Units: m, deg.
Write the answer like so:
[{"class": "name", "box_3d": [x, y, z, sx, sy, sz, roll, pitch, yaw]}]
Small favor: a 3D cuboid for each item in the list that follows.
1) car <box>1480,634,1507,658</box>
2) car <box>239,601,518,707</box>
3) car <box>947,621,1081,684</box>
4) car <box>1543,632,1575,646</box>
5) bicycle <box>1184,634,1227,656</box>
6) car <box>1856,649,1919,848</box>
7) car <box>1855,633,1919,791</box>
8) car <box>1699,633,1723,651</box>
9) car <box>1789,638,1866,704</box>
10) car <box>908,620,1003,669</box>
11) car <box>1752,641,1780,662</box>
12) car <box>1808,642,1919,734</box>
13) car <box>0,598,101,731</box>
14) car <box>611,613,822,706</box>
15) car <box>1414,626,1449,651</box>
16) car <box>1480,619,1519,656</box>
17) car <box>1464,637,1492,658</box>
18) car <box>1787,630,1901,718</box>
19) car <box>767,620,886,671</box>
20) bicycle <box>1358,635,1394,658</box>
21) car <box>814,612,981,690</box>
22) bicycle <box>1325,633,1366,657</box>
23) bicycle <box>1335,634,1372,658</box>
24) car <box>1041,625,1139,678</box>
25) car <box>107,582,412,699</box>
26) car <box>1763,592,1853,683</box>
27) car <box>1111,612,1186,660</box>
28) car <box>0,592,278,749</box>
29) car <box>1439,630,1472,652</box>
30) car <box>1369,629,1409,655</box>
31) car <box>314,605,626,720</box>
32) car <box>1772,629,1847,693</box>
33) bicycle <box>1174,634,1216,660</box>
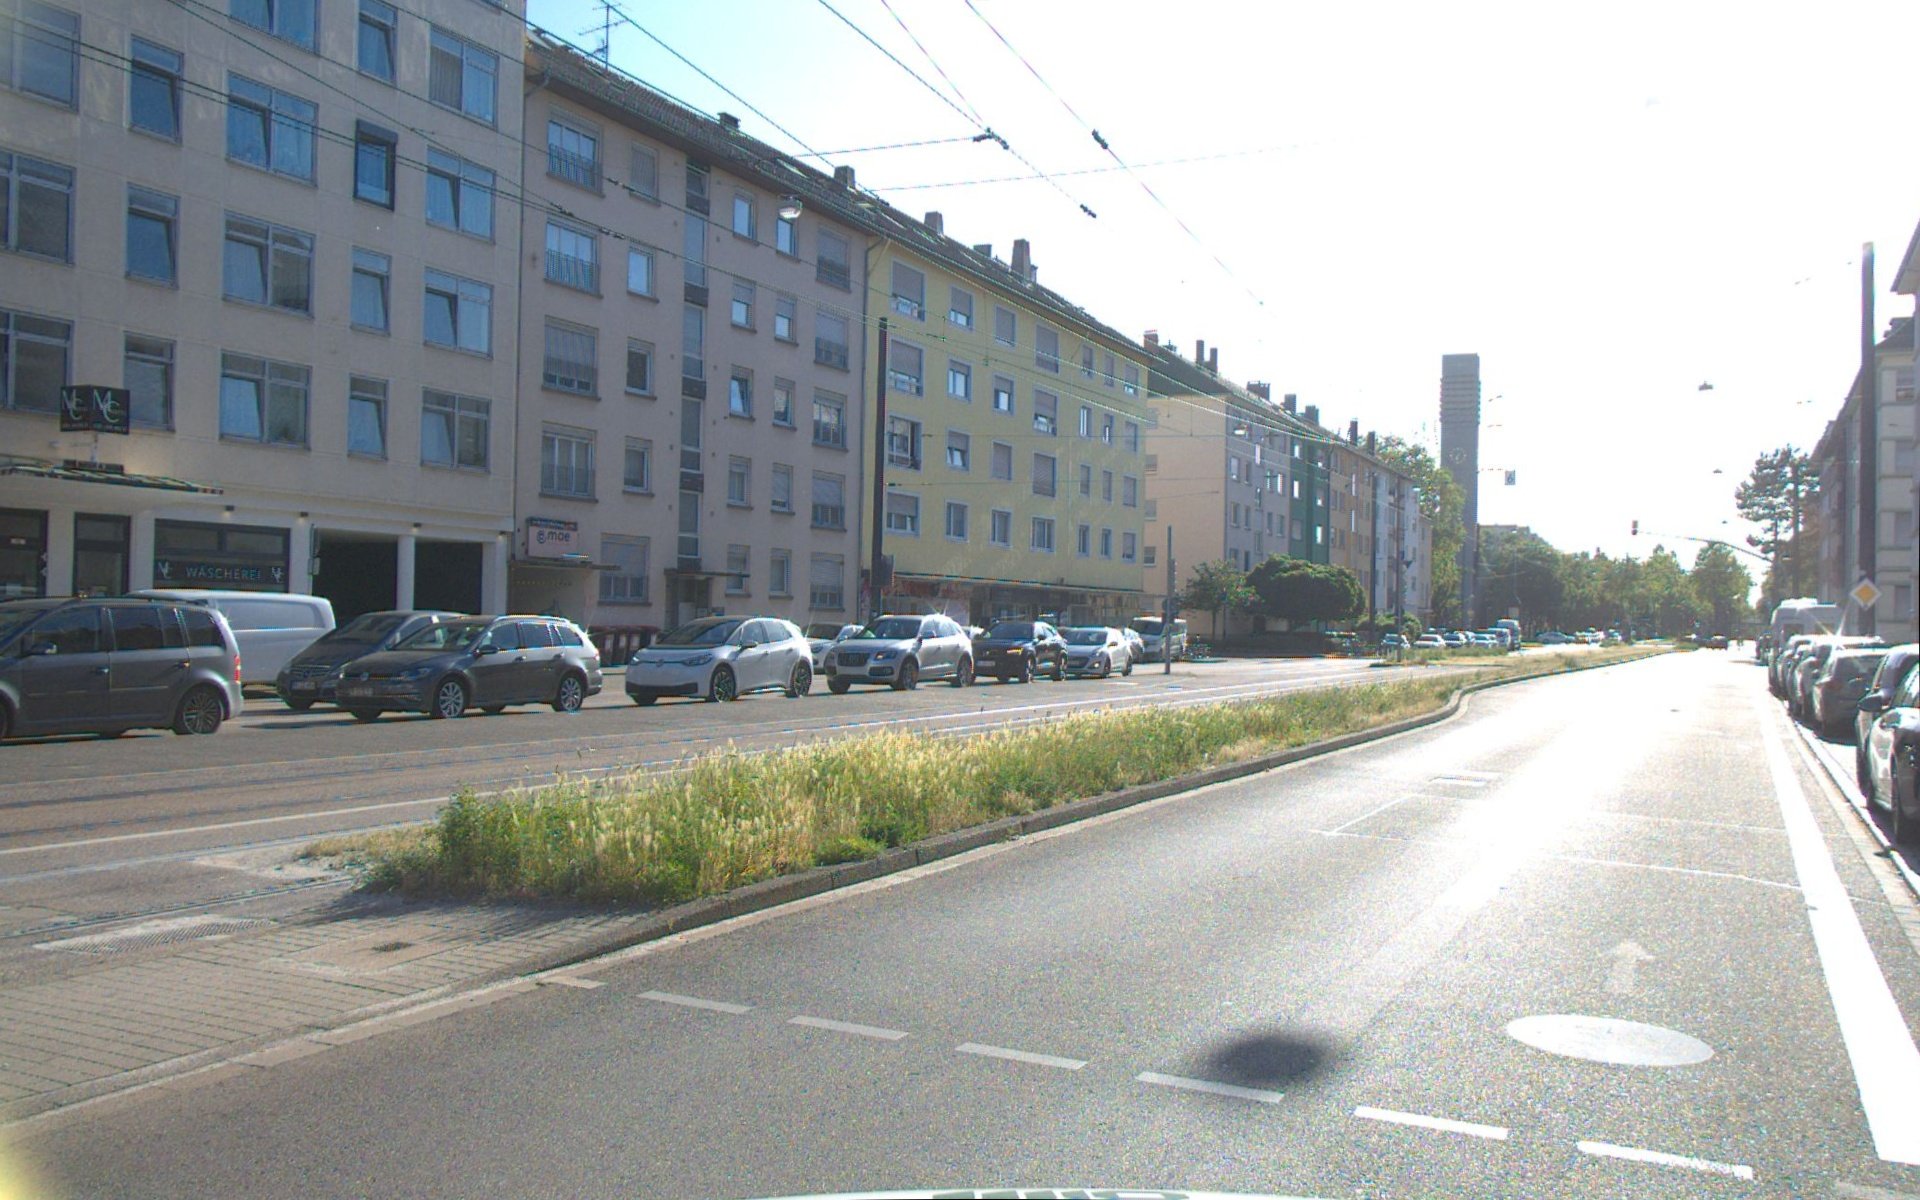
[{"class": "car", "box_3d": [49.401, 4.245, 153.078, 1.953, 1.999, 4.749, 0, -3, 23]}, {"class": "car", "box_3d": [-9.587, 0.903, 27.665, 1.943, 1.603, 4.320, 0, -2, 24]}, {"class": "car", "box_3d": [1.483, 1.381, 43.203, 1.923, 1.506, 4.566, 0, -2, 24]}, {"class": "car", "box_3d": [77.642, 5.092, 214.333, 3.904, 1.714, 2.000, 1, -3, 20]}, {"class": "bicycle", "box_3d": [12.395, 2.263, 83.503, 2.029, 1.040, 0.804, 1, -3, 13]}, {"class": "car", "box_3d": [8.672, 1.113, 13.699, 1.846, 1.422, 4.738, -2, -2, 25]}, {"class": "car", "box_3d": [10.498, 1.152, 17.507, 1.521, 1.553, 2.987, -1, -2, 23]}, {"class": "car", "box_3d": [83.585, 4.664, 184.155, 1.952, 1.814, 4.001, 1, -3, 18]}, {"class": "car", "box_3d": [19.972, 1.606, 38.117, 1.473, 1.451, 3.448, -2, -2, 27]}, {"class": "car", "box_3d": [-0.118, 1.525, 57.613, 1.796, 1.609, 3.797, 0, -1, 26]}, {"class": "car", "box_3d": [63.737, 4.099, 130.785, 1.859, 1.514, 3.736, 0, -3, 24]}, {"class": "car", "box_3d": [16.108, 1.510, 29.259, 1.737, 1.497, 4.091, -2, -2, 25]}, {"class": "car", "box_3d": [-12.687, 0.750, 19.778, 1.753, 1.603, 4.043, 0, -2, 24]}, {"class": "car", "box_3d": [-4.319, 1.079, 30.029, 1.801, 1.542, 4.241, 0, -2, 24]}, {"class": "car", "box_3d": [34.175, 2.796, 119.757, 1.953, 1.609, 3.997, 0, -3, 23]}, {"class": "car", "box_3d": [52.637, 3.656, 161.337, 2.925, 3.295, 6.789, 0, -3, 23]}, {"class": "car", "box_3d": [44.631, 4.100, 142.462, 1.953, 1.581, 3.997, 0, -3, 23]}, {"class": "car", "box_3d": [17.973, 1.468, 33.777, 1.628, 1.673, 4.183, -2, -2, 23]}, {"class": "car", "box_3d": [-3.975, 1.384, 49.852, 1.741, 1.460, 4.051, 0, -2, 26]}, {"class": "bicycle", "box_3d": [25.806, 2.920, 102.715, 2.082, 1.348, 0.897, 1, -3, 9]}, {"class": "car", "box_3d": [-1.286, 1.115, 36.523, 1.827, 1.605, 4.627, -1, -2, 24]}, {"class": "bicycle", "box_3d": [23.145, 2.703, 99.174, 2.262, 1.328, 0.913, 1, -3, 23]}, {"class": "bicycle", "box_3d": [23.989, 2.799, 100.788, 2.083, 1.348, 0.897, 1, -3, 20]}, {"class": "car", "box_3d": [3.930, 1.557, 49.476, 1.785, 1.471, 4.284, 0, -2, 21]}, {"class": "car", "box_3d": [-13.047, 0.762, 31.241, 1.904, 1.901, 5.322, 4, 0, 25]}, {"class": "car", "box_3d": [26.622, 1.192, 52.059, 2.115, 2.698, 5.640, -2, -2, 24]}, {"class": "car", "box_3d": [8.911, 1.718, 77.840, 1.963, 2.143, 5.302, 0, -2, 24]}, {"class": "car", "box_3d": [-9.985, 0.751, 18.127, 1.893, 1.575, 4.447, 0, -2, 27]}, {"class": "car", "box_3d": [38.668, 3.199, 129.029, 1.953, 1.581, 3.997, 0, -3, 23]}, {"class": "car", "box_3d": [28.154, 2.771, 108.386, 1.953, 1.479, 3.998, 1, -3, 23]}, {"class": "car", "box_3d": [-7.107, 0.919, 24.525, 1.783, 1.517, 4.535, 0, -2, 27]}, {"class": "car", "box_3d": [23.281, 1.652, 45.430, 1.558, 1.663, 3.916, -2, -2, 24]}, {"class": "bicycle", "box_3d": [11.610, 2.342, 81.796, 1.924, 1.227, 0.696, 2, -3, -1]}]
